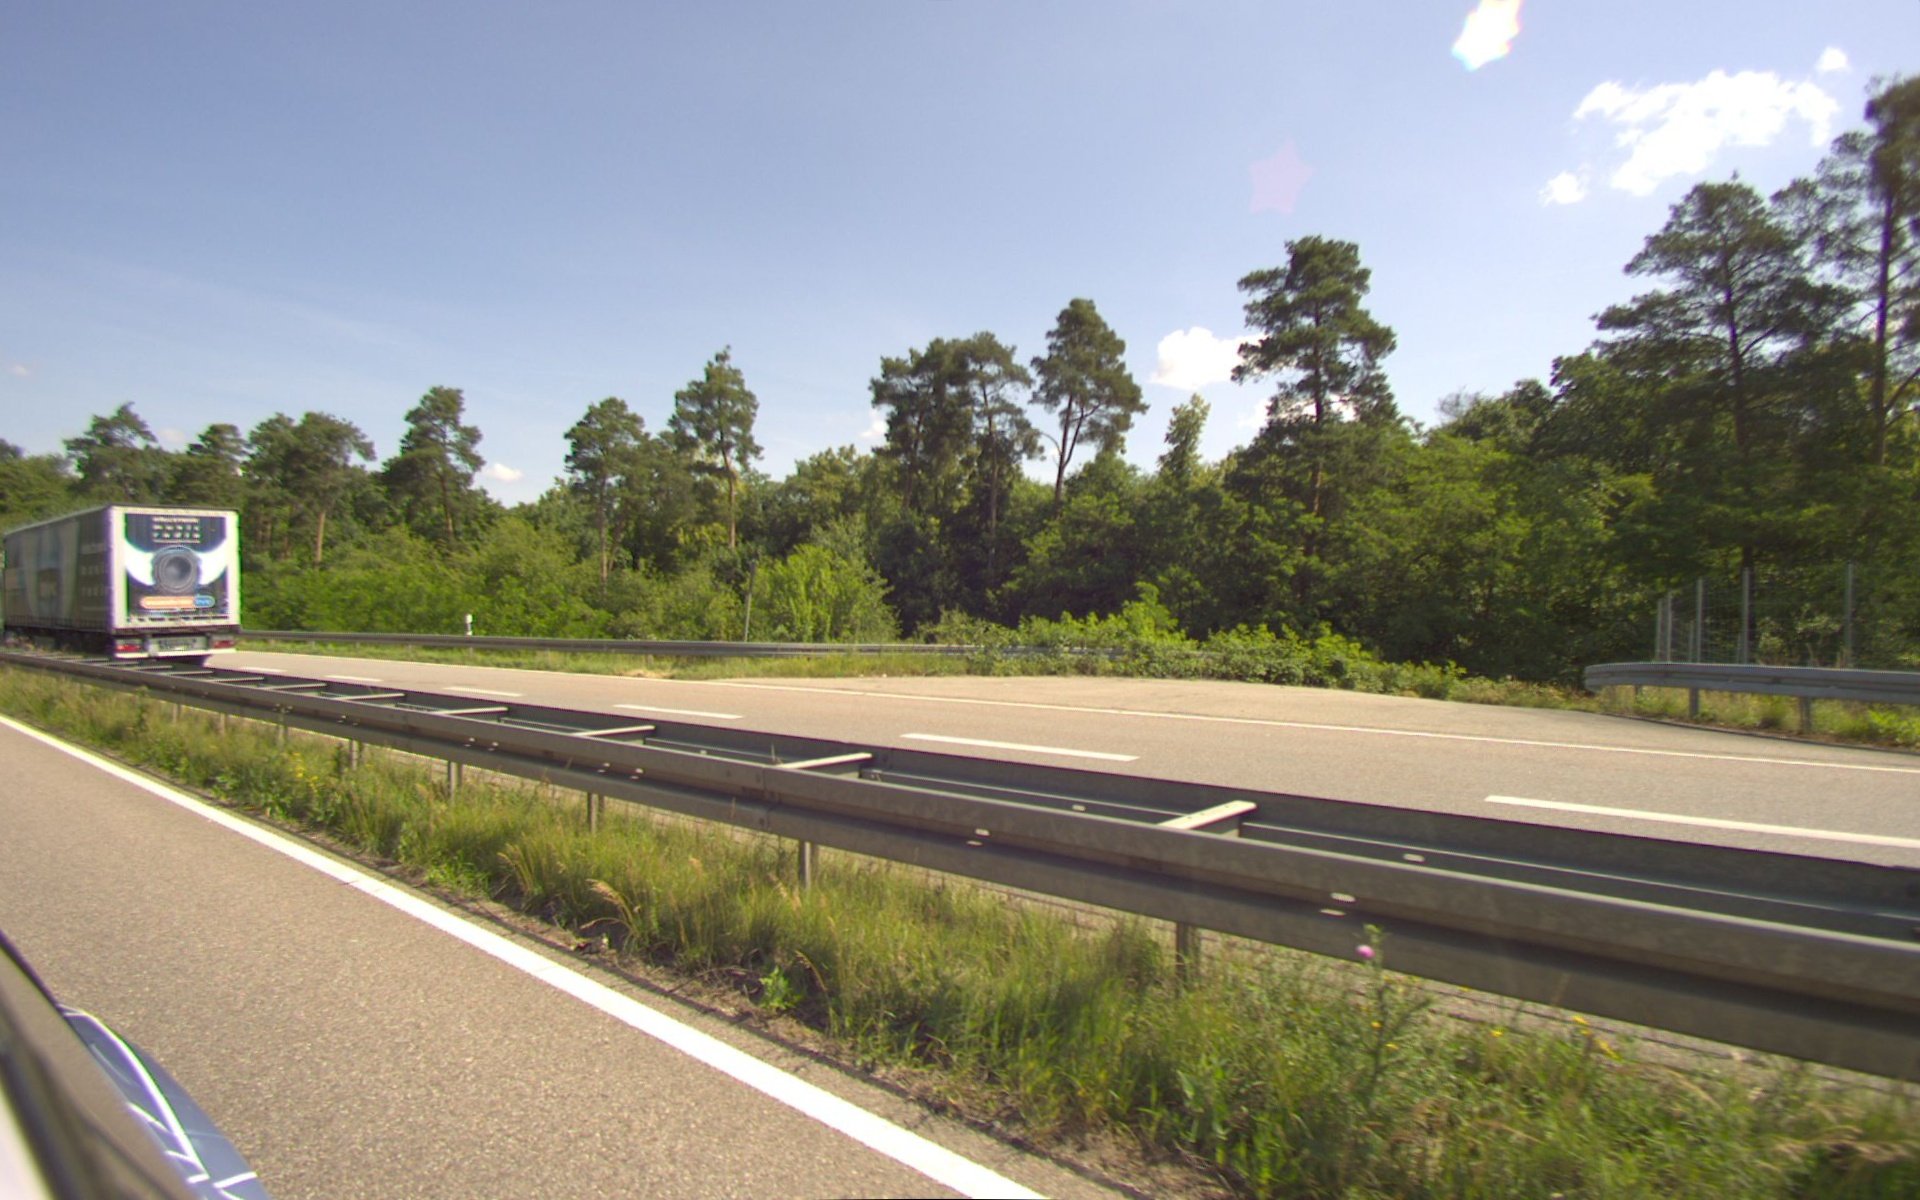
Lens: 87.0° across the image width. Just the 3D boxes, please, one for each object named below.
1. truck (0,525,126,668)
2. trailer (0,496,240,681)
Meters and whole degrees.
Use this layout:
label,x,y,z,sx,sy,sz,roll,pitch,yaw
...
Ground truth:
label,x,y,z,sx,sy,sz,roll,pitch,yaw
truck,-29.378,-0.052,32.730,5.707,4.220,2.642,-1,-1,39
trailer,-24.150,-0.158,28.503,14.047,4.220,2.642,-1,-1,39
